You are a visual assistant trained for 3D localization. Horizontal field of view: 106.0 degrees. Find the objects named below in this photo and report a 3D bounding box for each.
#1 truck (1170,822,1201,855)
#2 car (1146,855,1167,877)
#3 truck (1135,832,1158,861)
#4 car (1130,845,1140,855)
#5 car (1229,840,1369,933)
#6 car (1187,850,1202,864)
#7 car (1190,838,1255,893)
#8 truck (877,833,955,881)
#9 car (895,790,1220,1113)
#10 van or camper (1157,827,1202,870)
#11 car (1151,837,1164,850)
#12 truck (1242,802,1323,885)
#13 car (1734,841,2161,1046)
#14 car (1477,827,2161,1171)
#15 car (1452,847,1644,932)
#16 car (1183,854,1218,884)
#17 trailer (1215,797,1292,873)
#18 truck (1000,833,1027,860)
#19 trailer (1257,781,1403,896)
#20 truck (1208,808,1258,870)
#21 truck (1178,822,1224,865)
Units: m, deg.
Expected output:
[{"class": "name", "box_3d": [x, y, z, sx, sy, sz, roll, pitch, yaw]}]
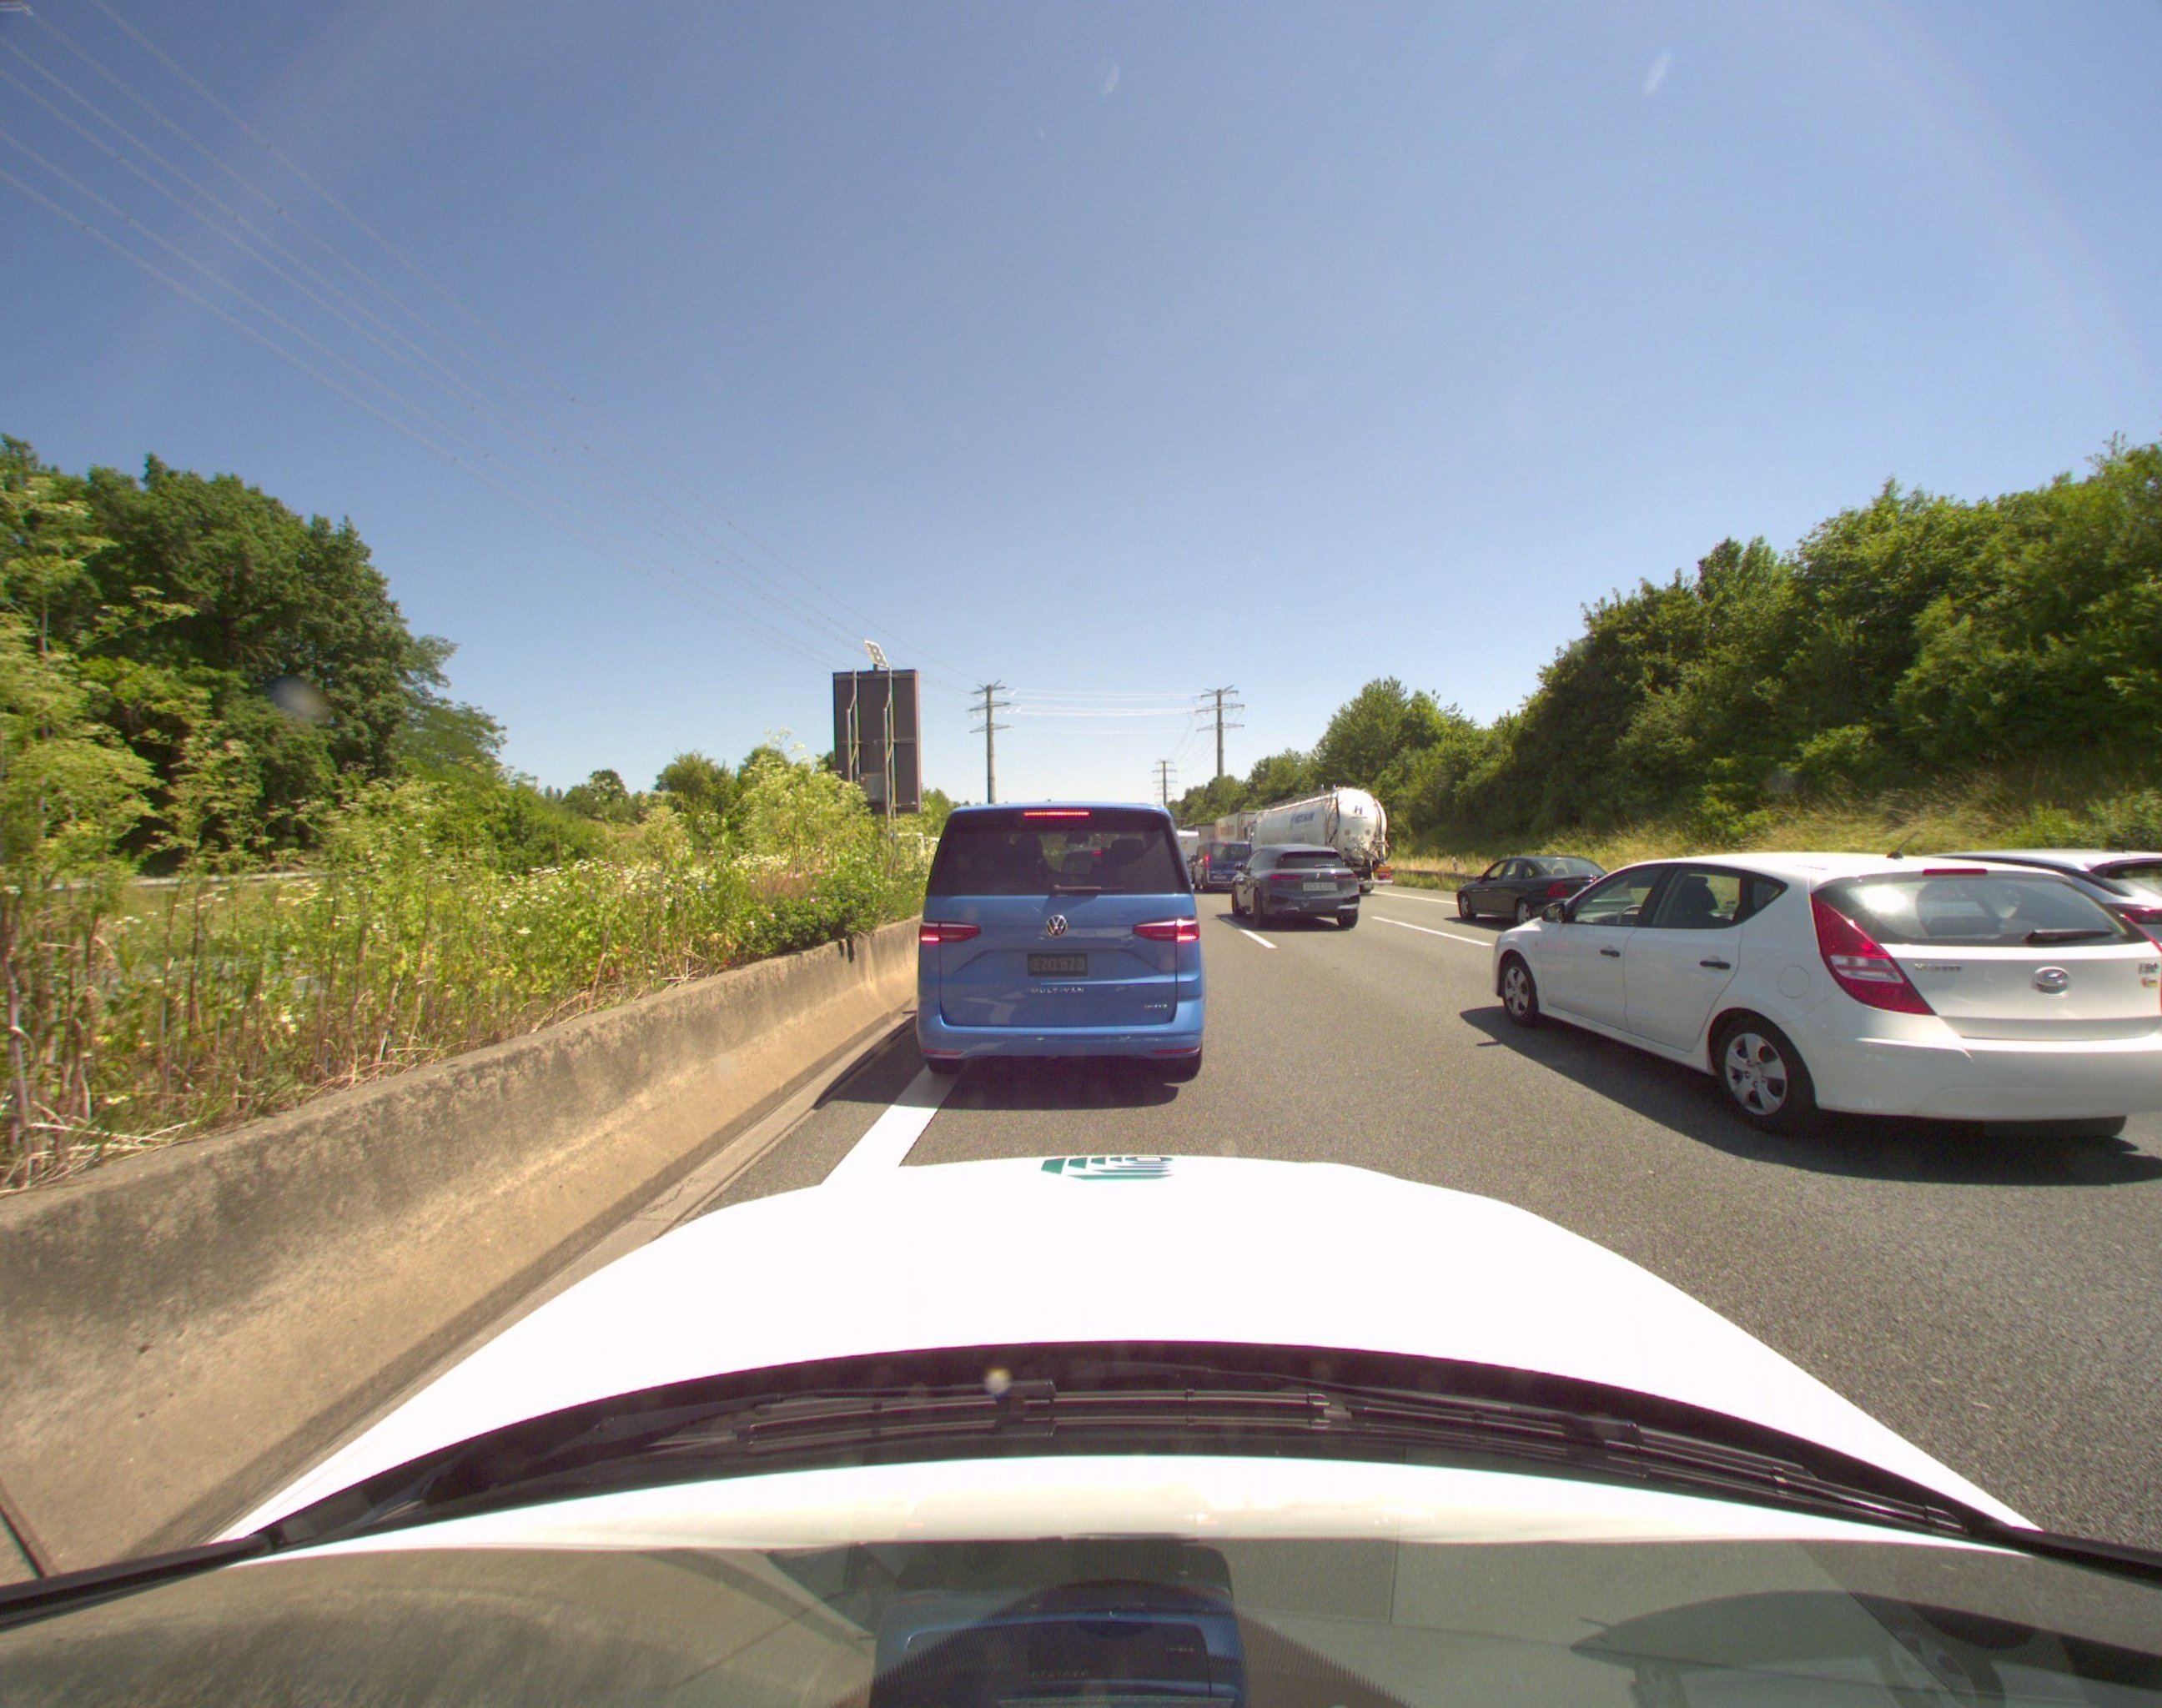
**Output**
[{"class": "truck", "box_3d": [13.042, -1.803, 102.628, 2.883, 3.766, 13.355, -1, -1, 3]}, {"class": "car", "box_3d": [7.281, 1.115, 78.450, 1.828, 1.998, 4.004, -2, -1, 4]}, {"class": "truck", "box_3d": [9.072, -0.991, 114.434, 2.883, 3.766, 10.148, -1, -1, 3]}, {"class": "car", "box_3d": [12.059, -0.936, 181.559, 1.986, 2.126, 4.001, -1, -1, 2]}, {"class": "car", "box_3d": [4.540, 0.655, 17.739, 1.991, 1.715, 4.628, -2, -1, 3]}, {"class": "car", "box_3d": [17.891, 0.465, 128.345, 1.986, 2.014, 4.001, -1, -1, 2]}, {"class": "car", "box_3d": [5.485, 0.457, 32.019, 1.916, 1.925, 4.238, -2, -1, 2]}, {"class": "truck", "box_3d": [-12.363, 0.200, 62.402, 2.753, 3.288, 11.830, -2, 0, 3]}, {"class": "car", "box_3d": [-0.058, 0.562, 6.785, 1.912, 1.886, 4.002, 0, 0, 2]}, {"class": "van or camper", "box_3d": [7.326, -0.359, 61.205, 2.944, 3.022, 7.109, -1, -1, 4]}, {"class": "car", "box_3d": [13.254, -1.806, 141.355, 1.985, 2.014, 4.002, -1, -1, 2]}, {"class": "truck", "box_3d": [9.981, -0.488, 40.920, 2.782, 3.836, 5.574, -2, 0, 2]}, {"class": "car", "box_3d": [8.706, 0.621, 7.815, 1.724, 1.443, 4.030, -2, 0, 2]}, {"class": "car", "box_3d": [4.502, 0.661, 5.573, 1.809, 1.485, 4.003, -2, -1, 3]}, {"class": "car", "box_3d": [9.019, 0.640, 16.142, 1.634, 1.416, 3.991, -2, -1, 3]}, {"class": "car", "box_3d": [6.024, 0.751, 41.443, 1.355, 1.420, 3.887, -2, -1, 3]}, {"class": "trailer", "box_3d": [11.312, -1.131, 54.814, 2.901, 4.469, 12.159, -2, 0, 2]}, {"class": "truck", "box_3d": [-9.571, -1.011, 116.270, 3.060, 3.709, 5.465, -1, 0, 2]}, {"class": "trailer", "box_3d": [9.770, -0.509, 33.622, 2.751, 3.845, 11.490, -2, 0, 2]}, {"class": "truck", "box_3d": [11.539, -1.090, 62.212, 2.901, 4.469, 5.144, -2, 0, 2]}, {"class": "truck", "box_3d": [11.561, -0.889, 80.117, 2.993, 3.766, 15.725, -1, 0, 3]}]
